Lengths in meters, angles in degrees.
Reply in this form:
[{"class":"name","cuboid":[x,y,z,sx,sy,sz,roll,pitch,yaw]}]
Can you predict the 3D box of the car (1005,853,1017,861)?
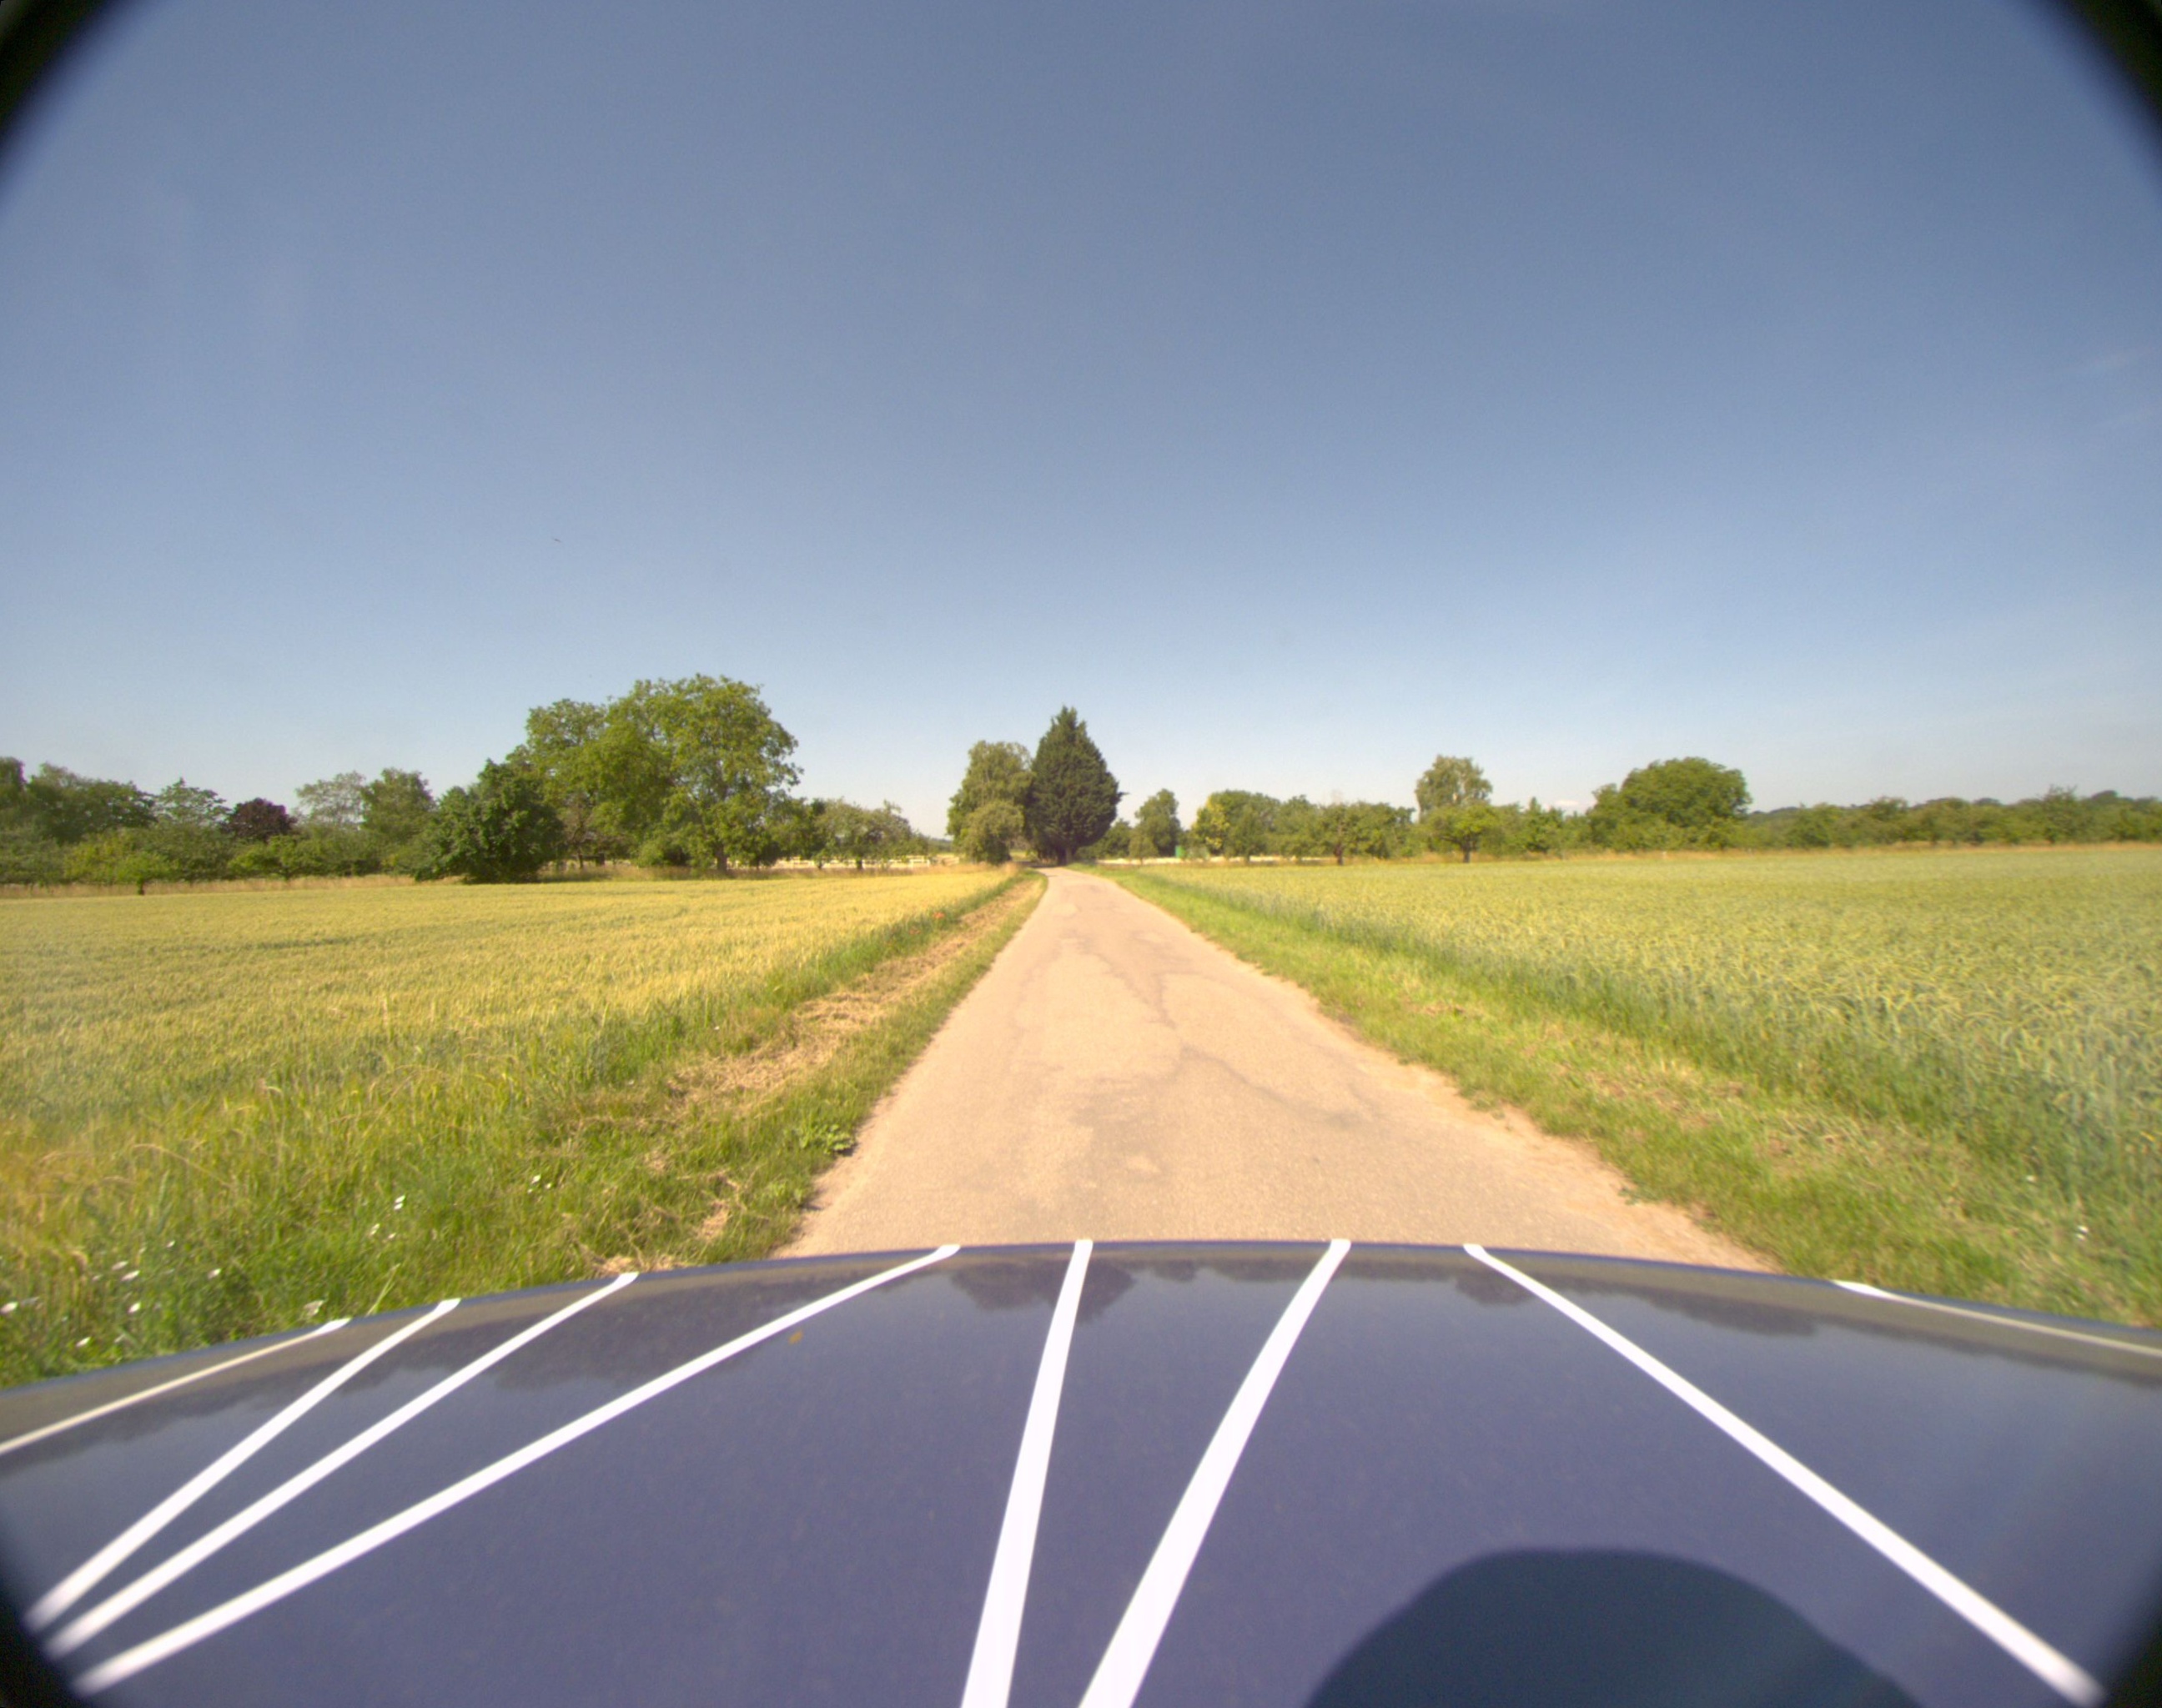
[{"class":"car","cuboid":[-11.260,0.446,121.973,1.723,1.312,3.740,-1,0,-9]}]
